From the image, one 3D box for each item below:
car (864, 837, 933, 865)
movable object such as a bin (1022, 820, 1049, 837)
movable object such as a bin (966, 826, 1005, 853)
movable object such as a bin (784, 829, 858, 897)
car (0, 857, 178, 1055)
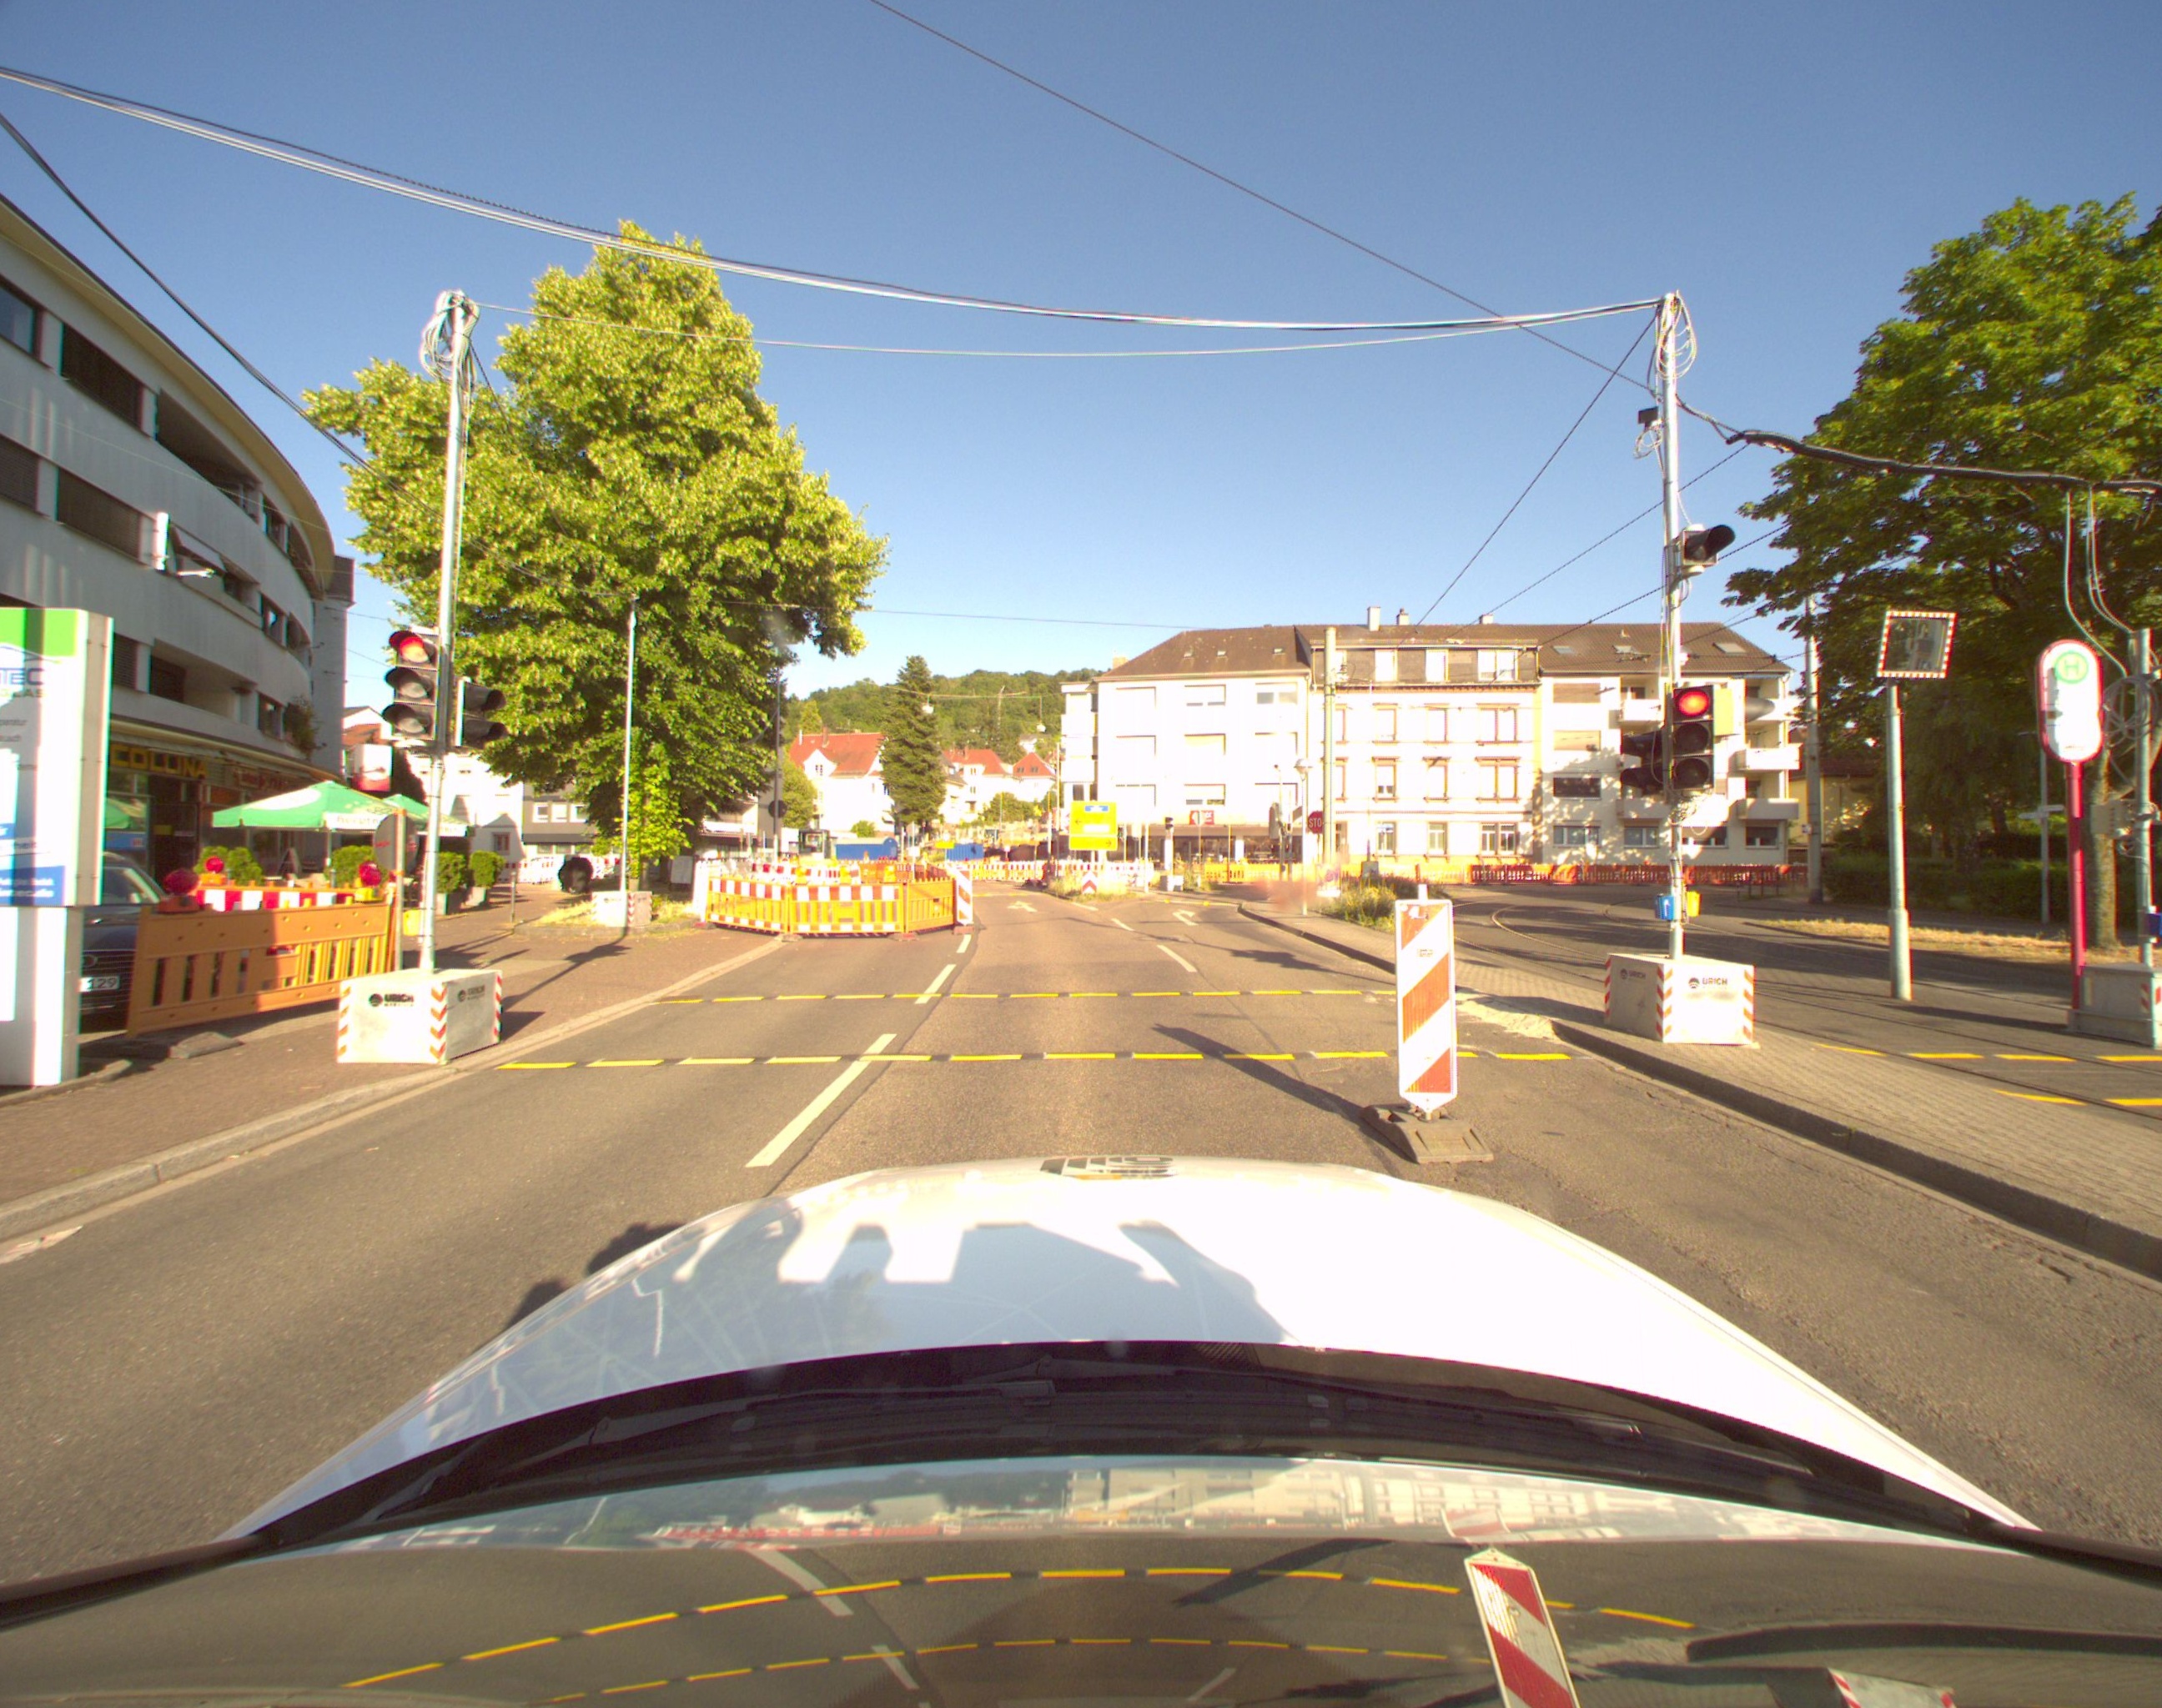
[{"bbox_3d":[-14.871,-0.224,66.678,2.562,2.121,6.181,-1,-1,20],"label":"car"},{"bbox_3d":[-6.419,-3.585,115.289,2.549,2.122,5.801,-1,-1,11],"label":"movable object such as a bin"},{"bbox_3d":[-9.241,-1.342,79.389,1.932,2.494,4.574,-1,-1,20],"label":"movable object such as a bin"},{"bbox_3d":[-9.432,0.302,29.868,1.643,2.324,3.916,0,0,-3],"label":"movable object such as a bin"},{"bbox_3d":[-9.320,0.779,7.305,3.835,1.438,1.606,-1,0,42],"label":"car"}]
